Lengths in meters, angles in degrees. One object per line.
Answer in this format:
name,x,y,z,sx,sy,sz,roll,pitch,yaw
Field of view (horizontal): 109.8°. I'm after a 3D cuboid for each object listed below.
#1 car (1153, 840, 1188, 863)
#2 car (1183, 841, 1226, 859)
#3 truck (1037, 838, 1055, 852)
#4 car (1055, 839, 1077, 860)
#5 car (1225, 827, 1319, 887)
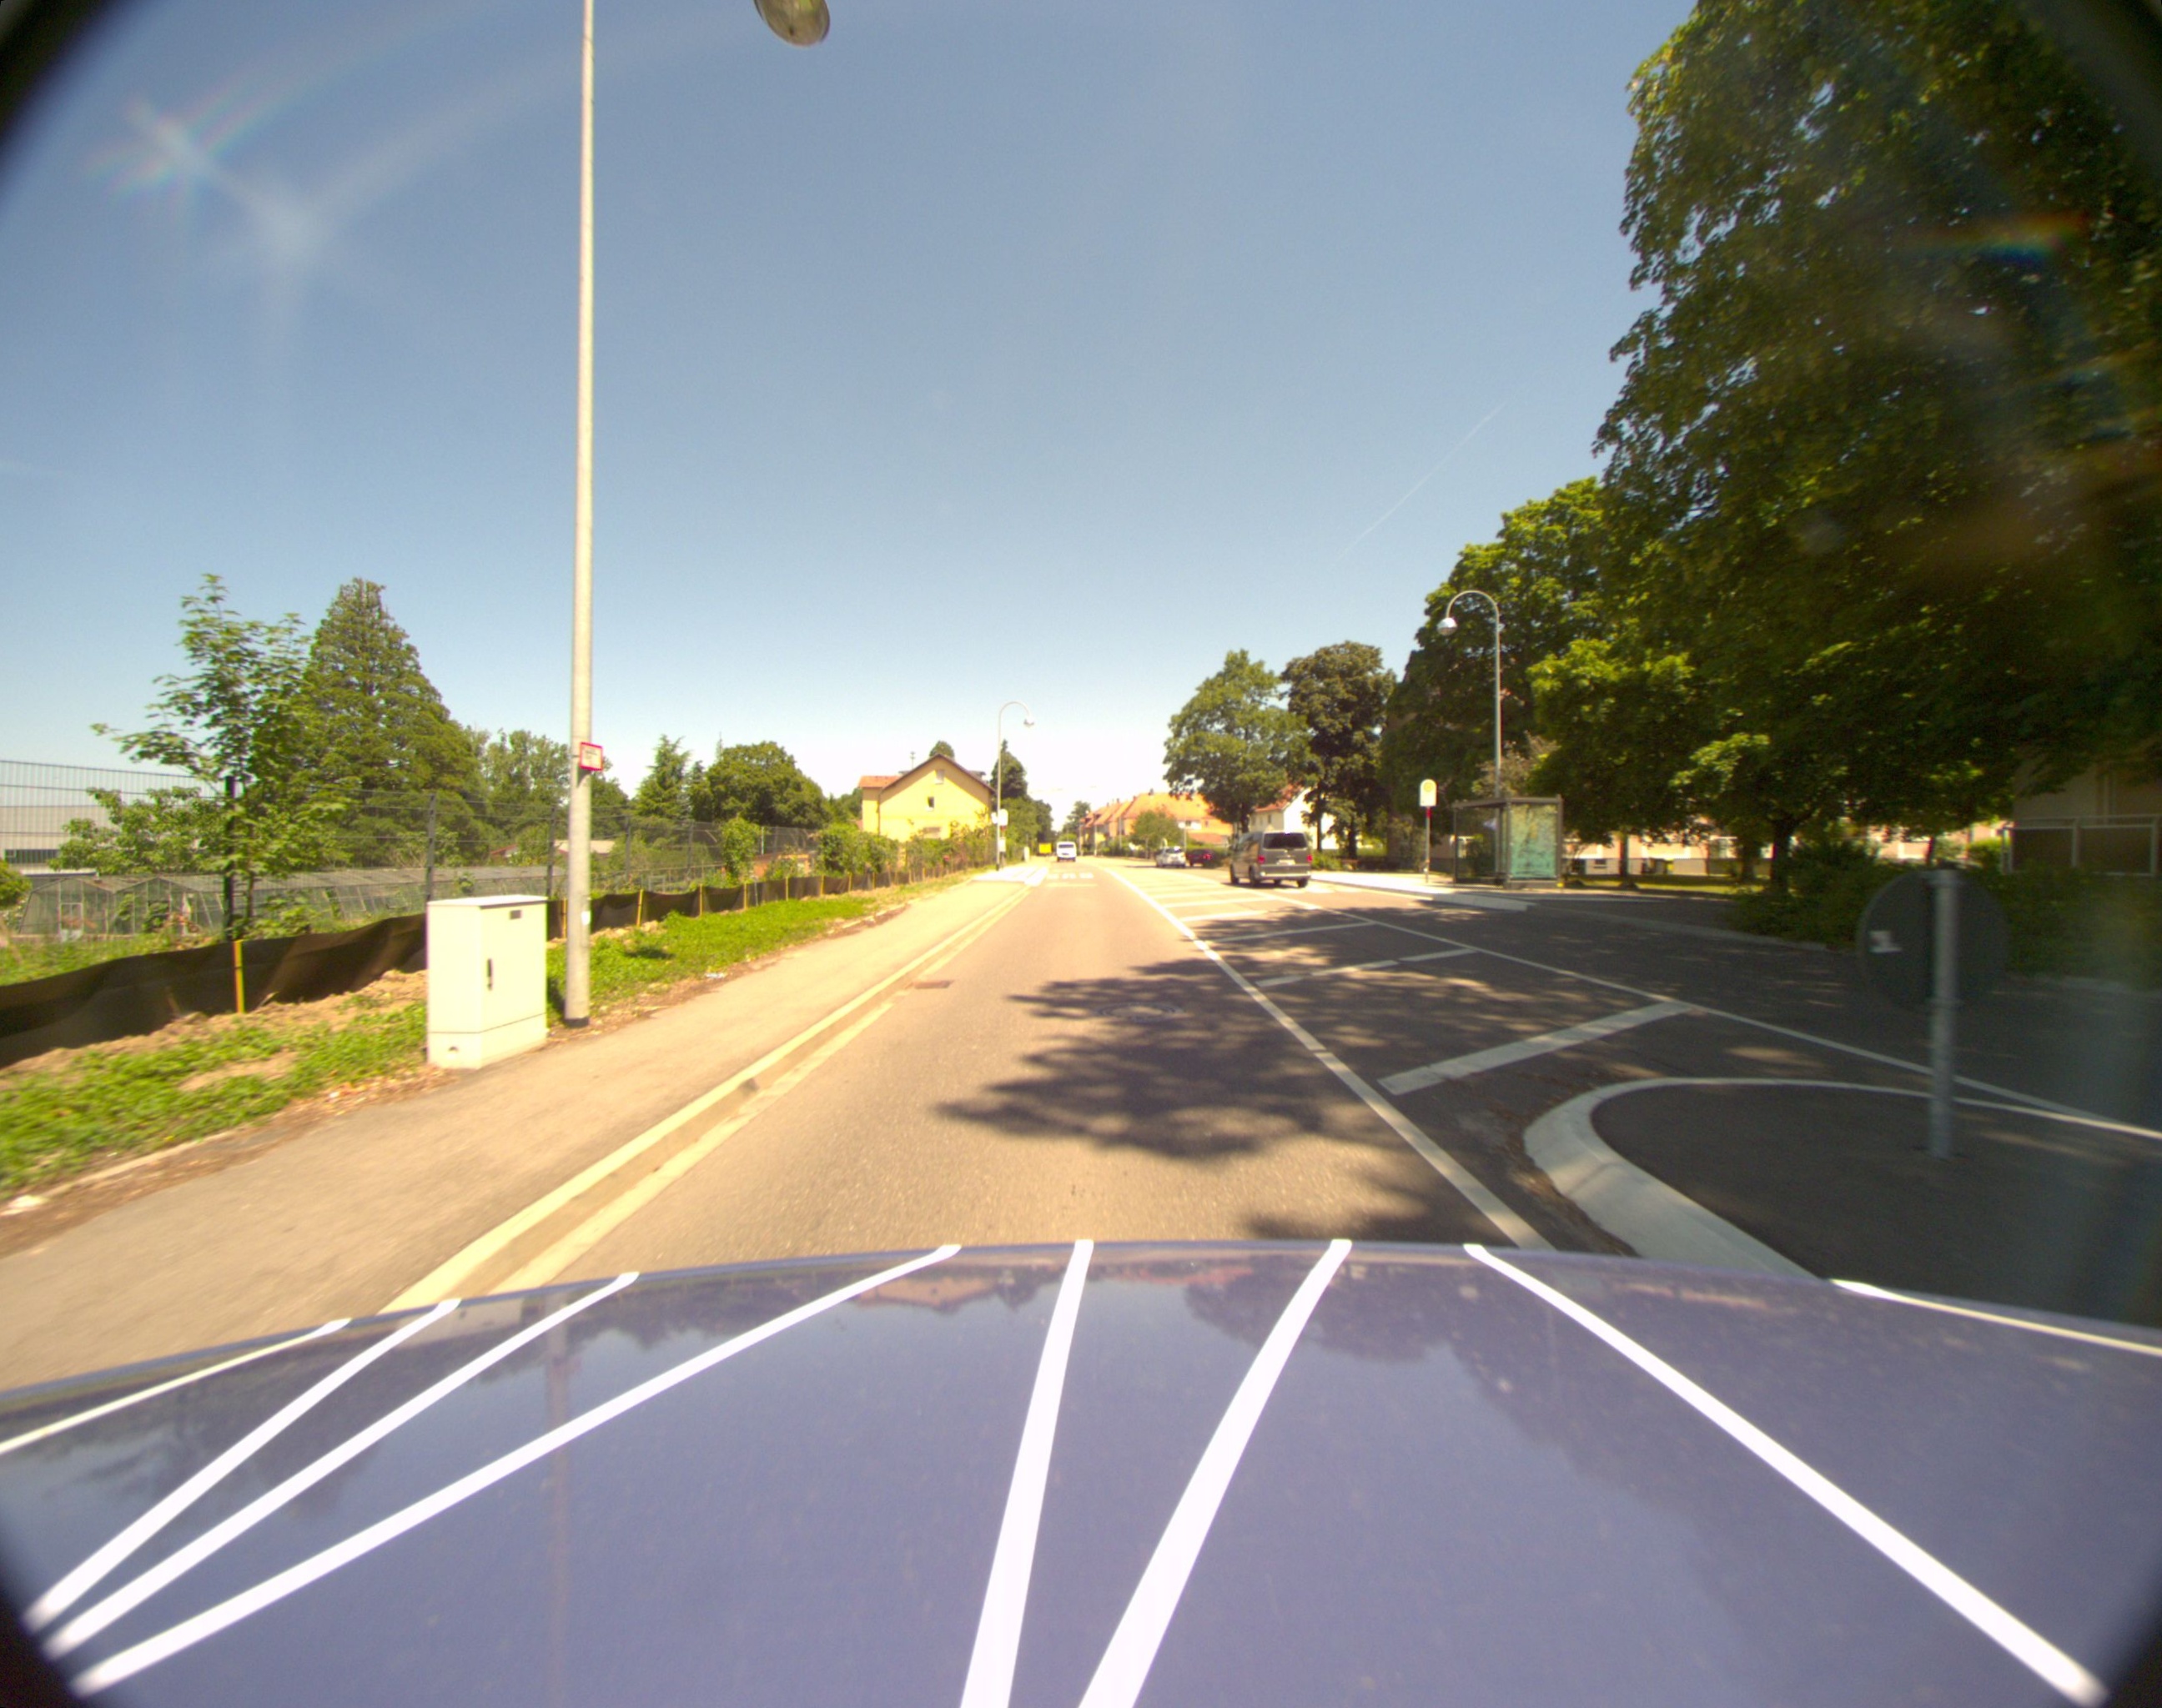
car,6.130,-0.173,52.208,1.695,1.451,3.638,-2,0,-4
car,9.774,-0.325,59.923,1.551,1.442,3.698,1,1,43
truck,-5.966,-1.474,129.132,2.020,2.295,6.170,-3,1,-10
car,-1.583,-0.457,77.342,1.999,2.002,4.384,-2,0,-4
car,6.636,0.070,27.020,1.999,1.899,4.989,-1,1,-1
